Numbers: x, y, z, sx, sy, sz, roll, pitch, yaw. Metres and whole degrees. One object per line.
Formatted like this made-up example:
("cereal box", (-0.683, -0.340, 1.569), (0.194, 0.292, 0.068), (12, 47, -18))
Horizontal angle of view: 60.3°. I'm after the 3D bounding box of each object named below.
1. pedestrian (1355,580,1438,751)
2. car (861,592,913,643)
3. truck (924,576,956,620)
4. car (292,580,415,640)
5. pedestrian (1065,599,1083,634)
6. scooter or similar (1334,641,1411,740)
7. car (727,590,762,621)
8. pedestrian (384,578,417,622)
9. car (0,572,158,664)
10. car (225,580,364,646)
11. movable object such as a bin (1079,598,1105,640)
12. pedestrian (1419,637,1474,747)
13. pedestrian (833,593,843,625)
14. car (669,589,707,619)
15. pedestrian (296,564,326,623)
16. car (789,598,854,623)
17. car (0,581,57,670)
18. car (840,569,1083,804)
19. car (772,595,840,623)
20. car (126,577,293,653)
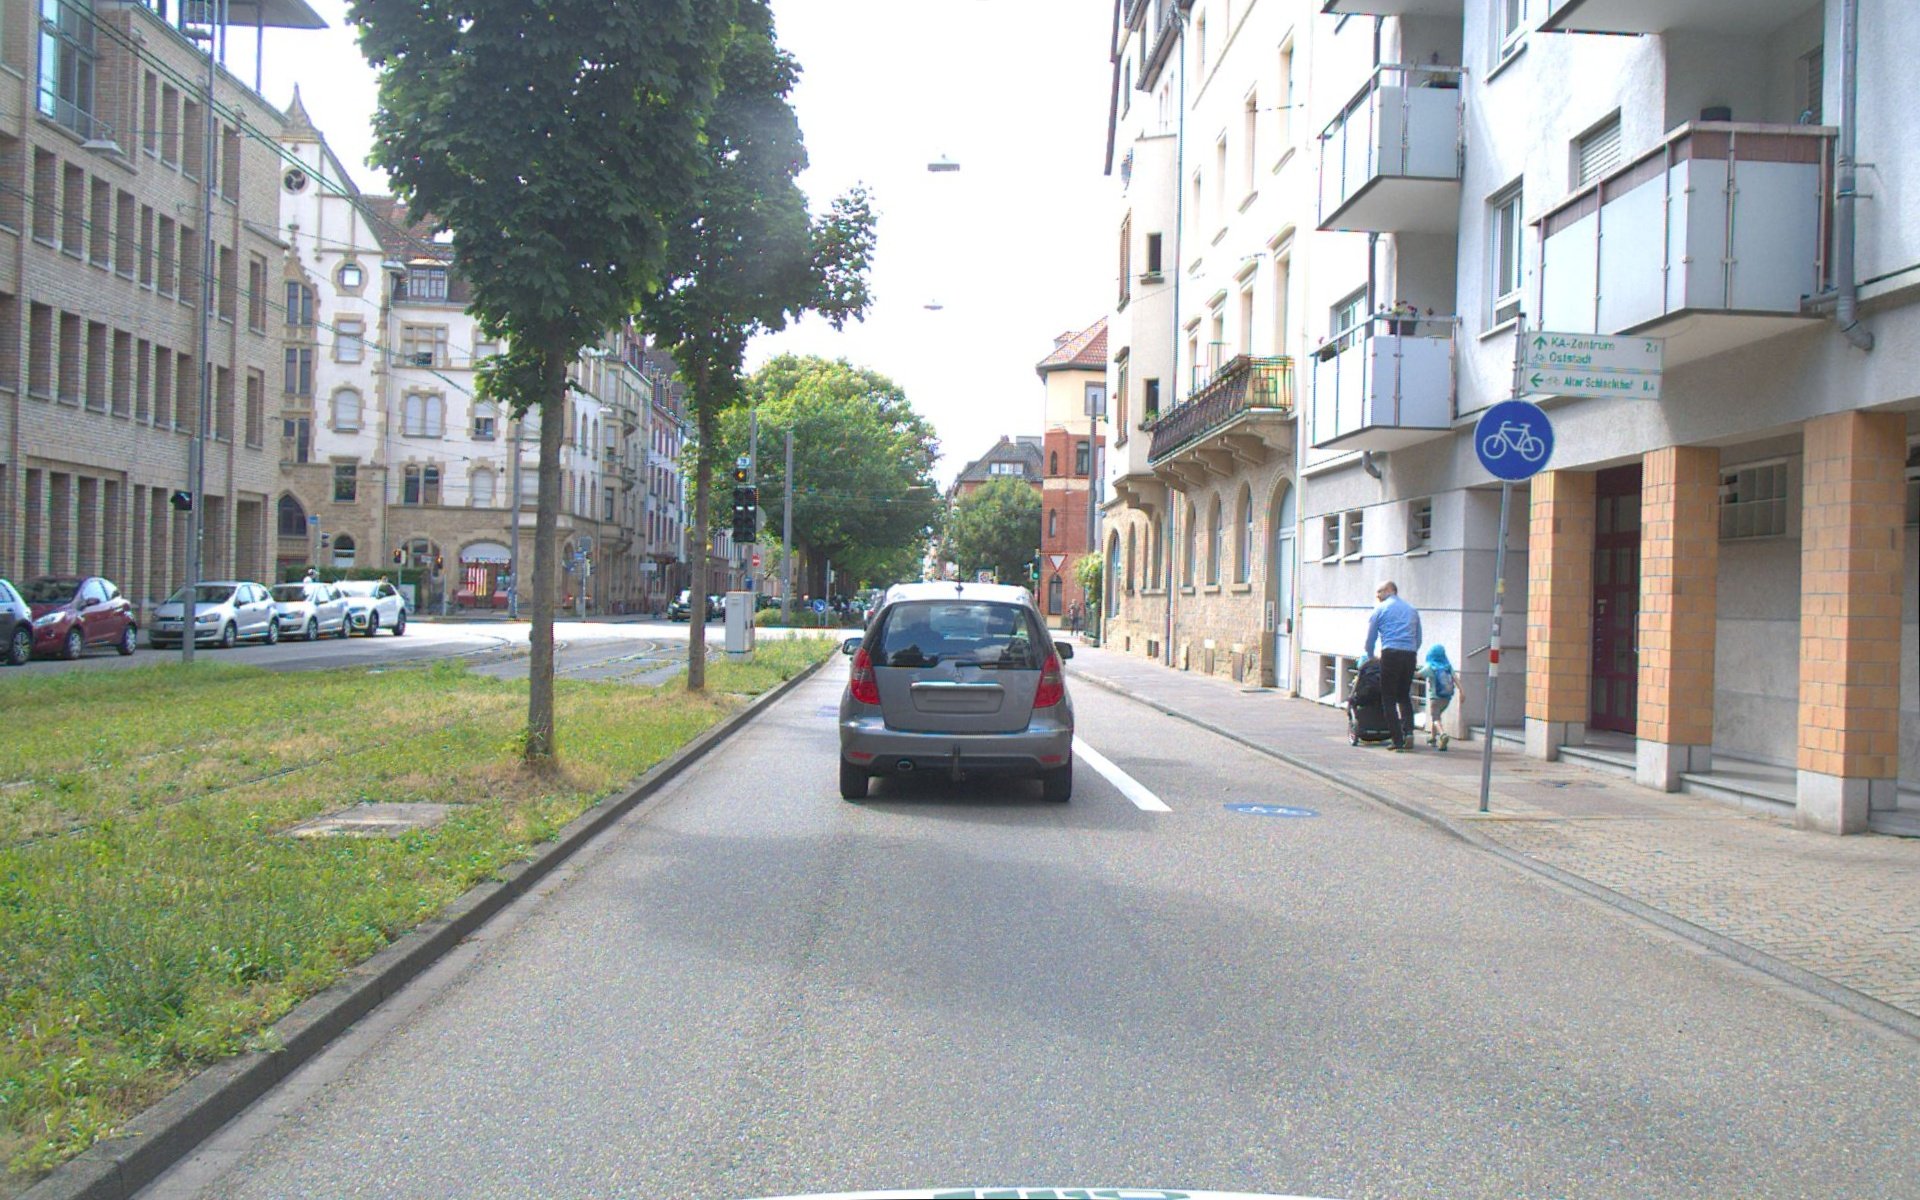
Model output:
("pedestrian", (4.647, 0.677, 17.651), (0.608, 1.769, 0.877), (1, 0, -1))
("car", (-2.519, 0.595, 58.046), (1.687, 1.736, 3.676), (1, 0, -1))
("truck", (-1.391, -0.108, 116.574), (2.079, 3.022, 4.001), (1, 0, 2))
("car", (-16.967, 0.259, 46.513), (1.893, 1.562, 4.257), (1, 0, -1))
("pedestrian", (5.663, 0.812, 82.502), (0.851, 1.685, 0.736), (1, 0, 3))
("scooter or similar", (4.588, 0.997, 18.436), (0.580, 1.019, 0.905), (-3, 0, -1))
("car", (-12.628, 0.344, 96.981), (1.955, 1.758, 3.994), (1, 0, -7))
("pedestrian", (-22.898, -0.002, 67.682), (0.763, 1.752, 1.017), (1, 0, 44))
("car", (-16.349, 0.303, 30.315), (1.550, 1.557, 3.549), (1, 0, -1))
("car", (-16.844, 0.311, 42.080), (1.893, 1.557, 4.014), (1, 0, -1))
("movable object such as a bin", (4.731, 0.689, 59.505), (0.701, 1.497, 0.980), (1, 0, -10))
("pedestrian", (5.234, 0.977, 17.801), (0.447, 1.154, 0.494), (0, 0, -1))
("pedestrian", (-6.900, 0.506, 93.729), (0.483, 1.755, 0.653), (1, 0, -8))
("car", (-15.681, 0.232, 95.397), (1.955, 1.646, 3.994), (1, 0, -7))
("pedestrian", (-20.304, -0.202, 51.756), (0.751, 1.827, 0.952), (2, 0, -27))
("car", (-8.249, 0.593, 98.396), (1.957, 1.362, 3.941), (2, 0, -41))
("car", (-16.168, 0.386, 25.758), (1.893, 1.420, 4.238), (1, 0, -1))
("car", (-0.014, 0.612, 13.447), (1.687, 1.634, 3.676), (1, 0, -1))
("car", (-8.930, 0.501, 95.757), (1.957, 1.521, 3.941), (2, 0, -41))
("car", (-16.638, 0.304, 36.901), (1.813, 1.557, 4.209), (1, 0, -1))
